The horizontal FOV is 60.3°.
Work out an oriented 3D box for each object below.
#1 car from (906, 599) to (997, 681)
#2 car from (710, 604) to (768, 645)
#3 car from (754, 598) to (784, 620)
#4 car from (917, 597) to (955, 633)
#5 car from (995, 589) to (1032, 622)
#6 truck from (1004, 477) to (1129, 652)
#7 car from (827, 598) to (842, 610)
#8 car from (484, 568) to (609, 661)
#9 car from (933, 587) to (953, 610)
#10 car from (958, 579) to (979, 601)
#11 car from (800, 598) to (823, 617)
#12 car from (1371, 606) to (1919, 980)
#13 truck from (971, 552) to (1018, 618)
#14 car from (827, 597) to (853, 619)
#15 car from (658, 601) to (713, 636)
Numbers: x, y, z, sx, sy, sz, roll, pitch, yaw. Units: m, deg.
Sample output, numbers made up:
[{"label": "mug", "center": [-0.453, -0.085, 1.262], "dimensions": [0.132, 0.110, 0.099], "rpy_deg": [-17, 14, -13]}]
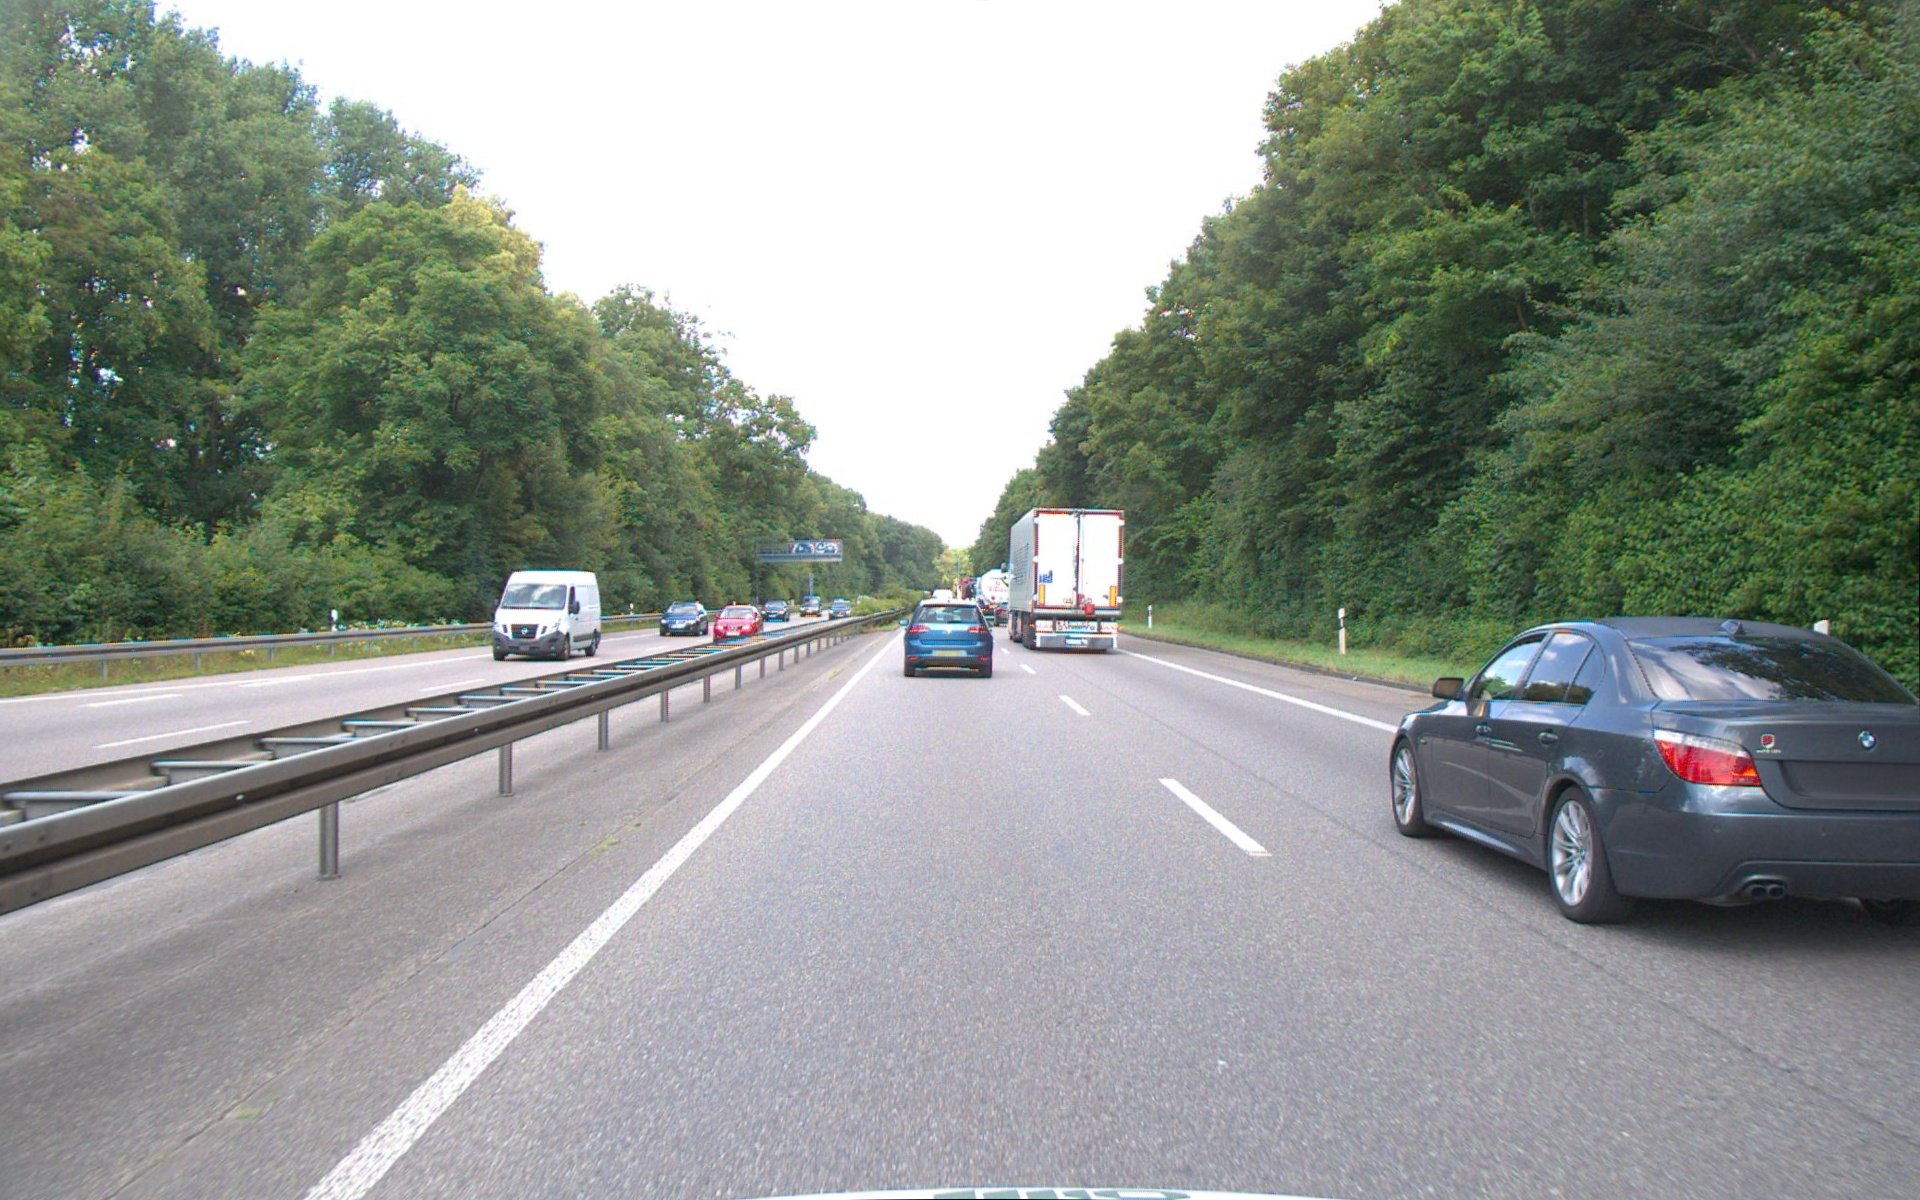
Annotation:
[{"label": "car", "center": [-0.191, 0.736, 32.689], "dimensions": [1.670, 1.495, 3.999], "rpy_deg": [1, 0, -1]}, {"label": "car", "center": [-8.465, 0.900, 63.505], "dimensions": [1.644, 1.480, 4.127], "rpy_deg": [1, 0, 0]}, {"label": "car", "center": [-13.716, 0.648, 119.120], "dimensions": [1.646, 1.546, 4.858], "rpy_deg": [0, 0, -1]}, {"label": "car", "center": [-1.031, 0.621, 72.129], "dimensions": [1.631, 1.526, 4.151], "rpy_deg": [0, 0, 0]}, {"label": "car", "center": [2.896, 0.303, 90.654], "dimensions": [1.850, 1.759, 4.000], "rpy_deg": [-1, 0, 0]}, {"label": "truck", "center": [3.105, -1.011, 51.297], "dimensions": [3.175, 4.798, 11.007], "rpy_deg": [-1, 0, 0]}, {"label": "car", "center": [-15.151, 0.489, 199.743], "dimensions": [1.506, 1.421, 3.510], "rpy_deg": [-1, 0, -1]}, {"label": "car", "center": [-11.723, 0.390, 47.305], "dimensions": [2.068, 2.465, 5.830], "rpy_deg": [1, 0, 0]}, {"label": "car", "center": [-1.775, -0.145, 171.471], "dimensions": [1.954, 2.295, 4.439], "rpy_deg": [0, 0, -3]}, {"label": "car", "center": [0.851, -1.080, 176.642], "dimensions": [1.954, 2.368, 4.439], "rpy_deg": [-1, 0, -3]}, {"label": "car", "center": [-13.390, 0.661, 149.443], "dimensions": [1.724, 1.621, 4.632], "rpy_deg": [1, 0, -1]}, {"label": "car", "center": [3.819, 0.809, 9.249], "dimensions": [1.738, 1.501, 4.879], "rpy_deg": [1, 0, -1]}, {"label": "truck", "center": [2.474, -0.947, 119.012], "dimensions": [3.165, 4.463, 12.971], "rpy_deg": [0, 0, 1]}, {"label": "car", "center": [-9.016, 0.584, 124.475], "dimensions": [1.745, 1.546, 4.265], "rpy_deg": [-1, 0, -1]}, {"label": "car", "center": [-12.570, 0.822, 76.000], "dimensions": [1.749, 1.504, 4.569], "rpy_deg": [1, 0, 0]}]
